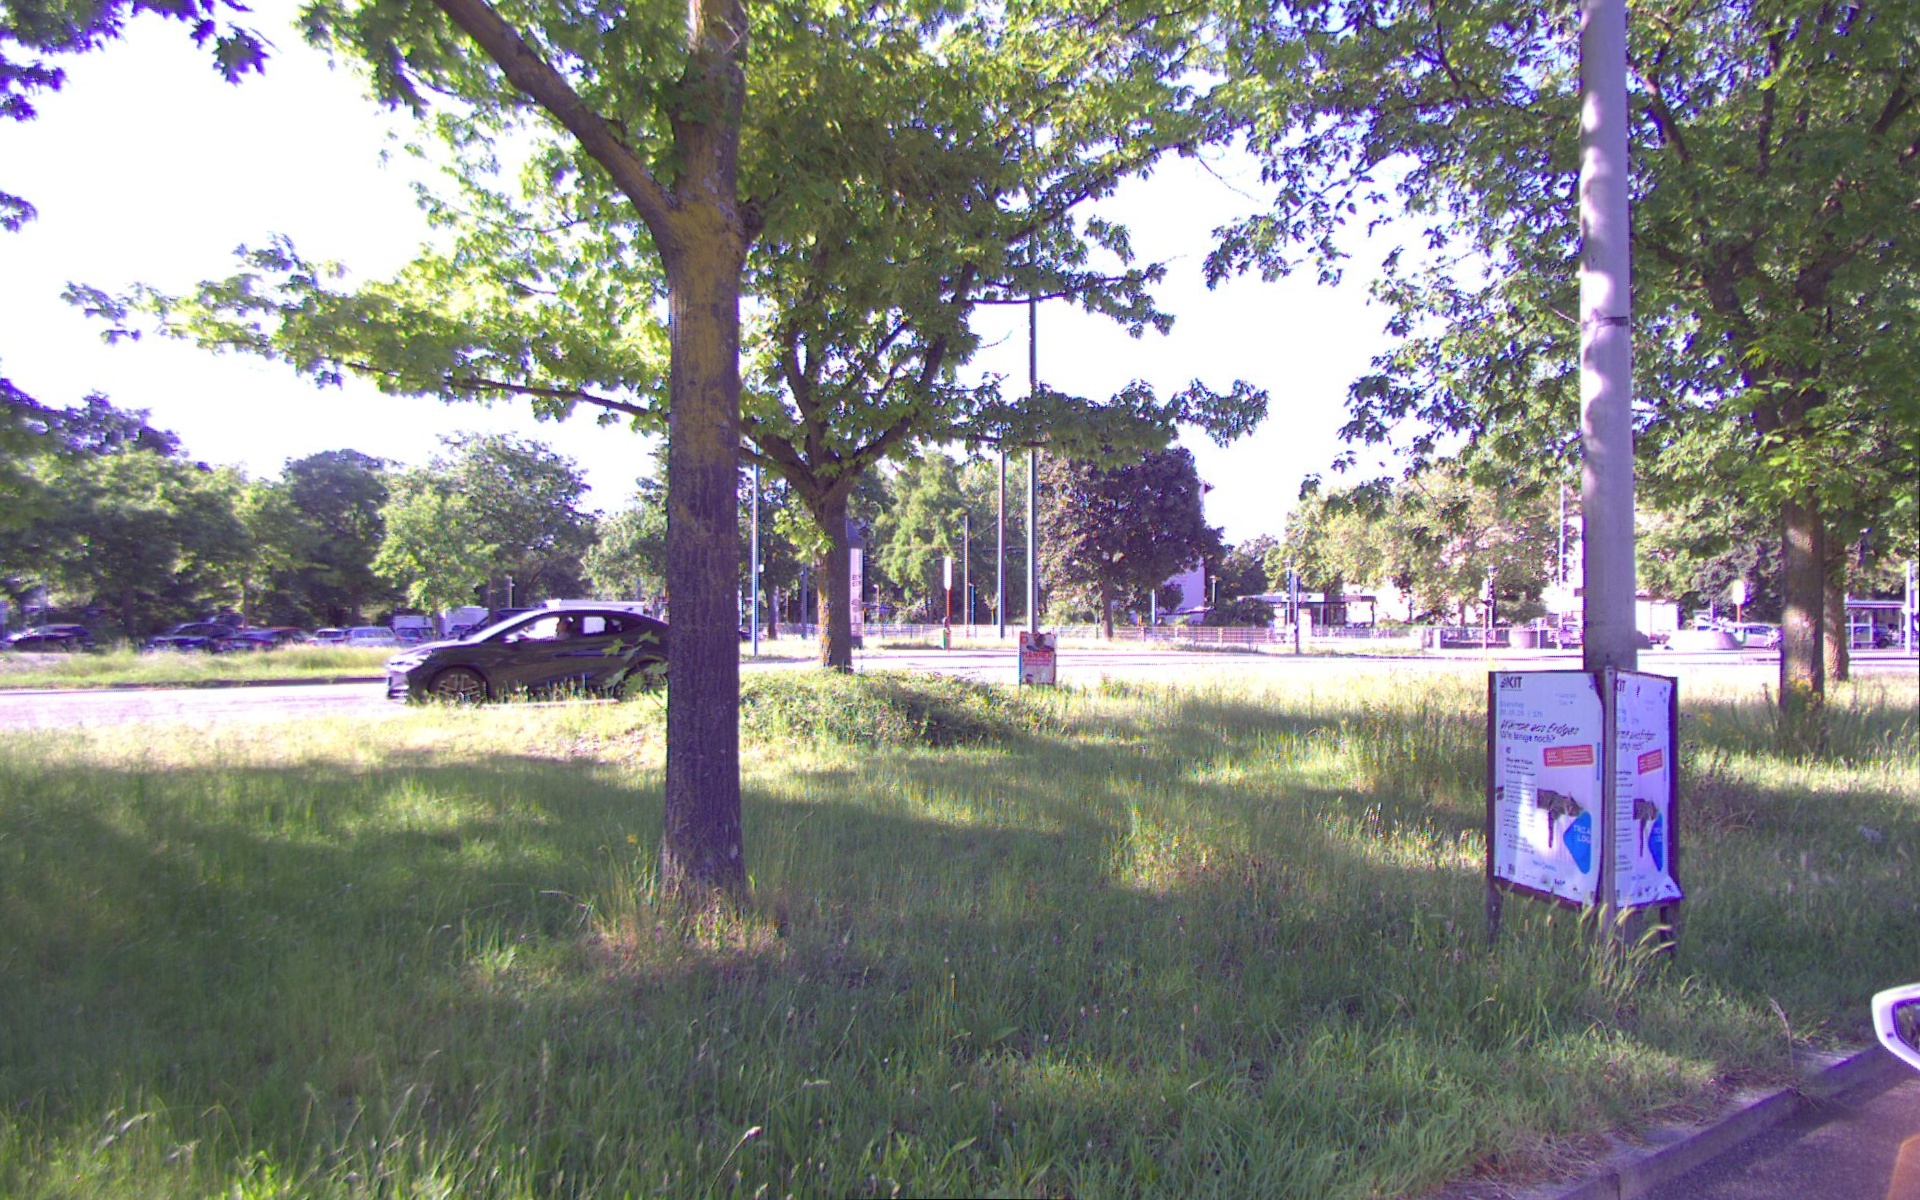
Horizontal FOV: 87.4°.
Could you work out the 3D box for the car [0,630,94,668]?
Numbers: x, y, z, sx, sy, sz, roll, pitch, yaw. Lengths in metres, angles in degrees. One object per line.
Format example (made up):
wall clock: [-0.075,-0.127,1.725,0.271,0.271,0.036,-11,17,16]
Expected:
car: [-47.663,2.486,51.903,1.966,1.817,3.990,0,-1,32]

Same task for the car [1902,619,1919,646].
car: [71.929,2.395,73.403,1.910,2.040,4.155,1,-1,-31]

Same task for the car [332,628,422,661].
car: [-21.830,1.627,37.633,2.769,1.171,1.326,1,-1,-40]

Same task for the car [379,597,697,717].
car: [-6.601,0.832,15.872,4.411,1.669,1.816,1,-1,-32]

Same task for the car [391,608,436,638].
car: [-32.493,1.356,59.785,1.865,1.691,3.733,1,-1,-22]

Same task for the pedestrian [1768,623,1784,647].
pedestrian: [48.295,2.046,59.465,0.614,1.409,0.416,0,-1,-3]

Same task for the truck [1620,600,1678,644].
truck: [46.636,1.474,68.091,1.960,2.842,4.002,0,-1,15]

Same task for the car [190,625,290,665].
car: [-25.237,1.556,35.243,2.769,1.323,1.326,1,-1,-40]

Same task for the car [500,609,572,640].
car: [-24.134,1.404,57.288,3.698,1.691,1.883,1,-1,-23]

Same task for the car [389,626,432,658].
car: [-26.706,2.020,48.778,1.602,1.438,3.050,1,-1,-33]

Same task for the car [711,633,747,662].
car: [-12.035,2.447,52.487,1.589,1.438,3.073,0,-1,-8]

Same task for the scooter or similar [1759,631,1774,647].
scooter or similar: [47.723,2.330,59.435,0.524,0.939,0.421,0,-1,-4]

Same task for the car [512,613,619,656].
car: [-17.222,1.467,43.800,4.670,1.762,2.024,0,-1,34]

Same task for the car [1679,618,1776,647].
car: [46.902,1.961,61.466,4.233,1.706,2.001,0,-1,9]

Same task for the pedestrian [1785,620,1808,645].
pedestrian: [53.690,2.085,64.503,0.781,1.629,0.923,0,-1,9]

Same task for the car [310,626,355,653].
car: [-29.299,1.816,46.864,1.603,1.194,3.047,1,-1,-35]

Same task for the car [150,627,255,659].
car: [-26.846,1.496,35.628,1.315,1.078,2.777,0,-1,42]
